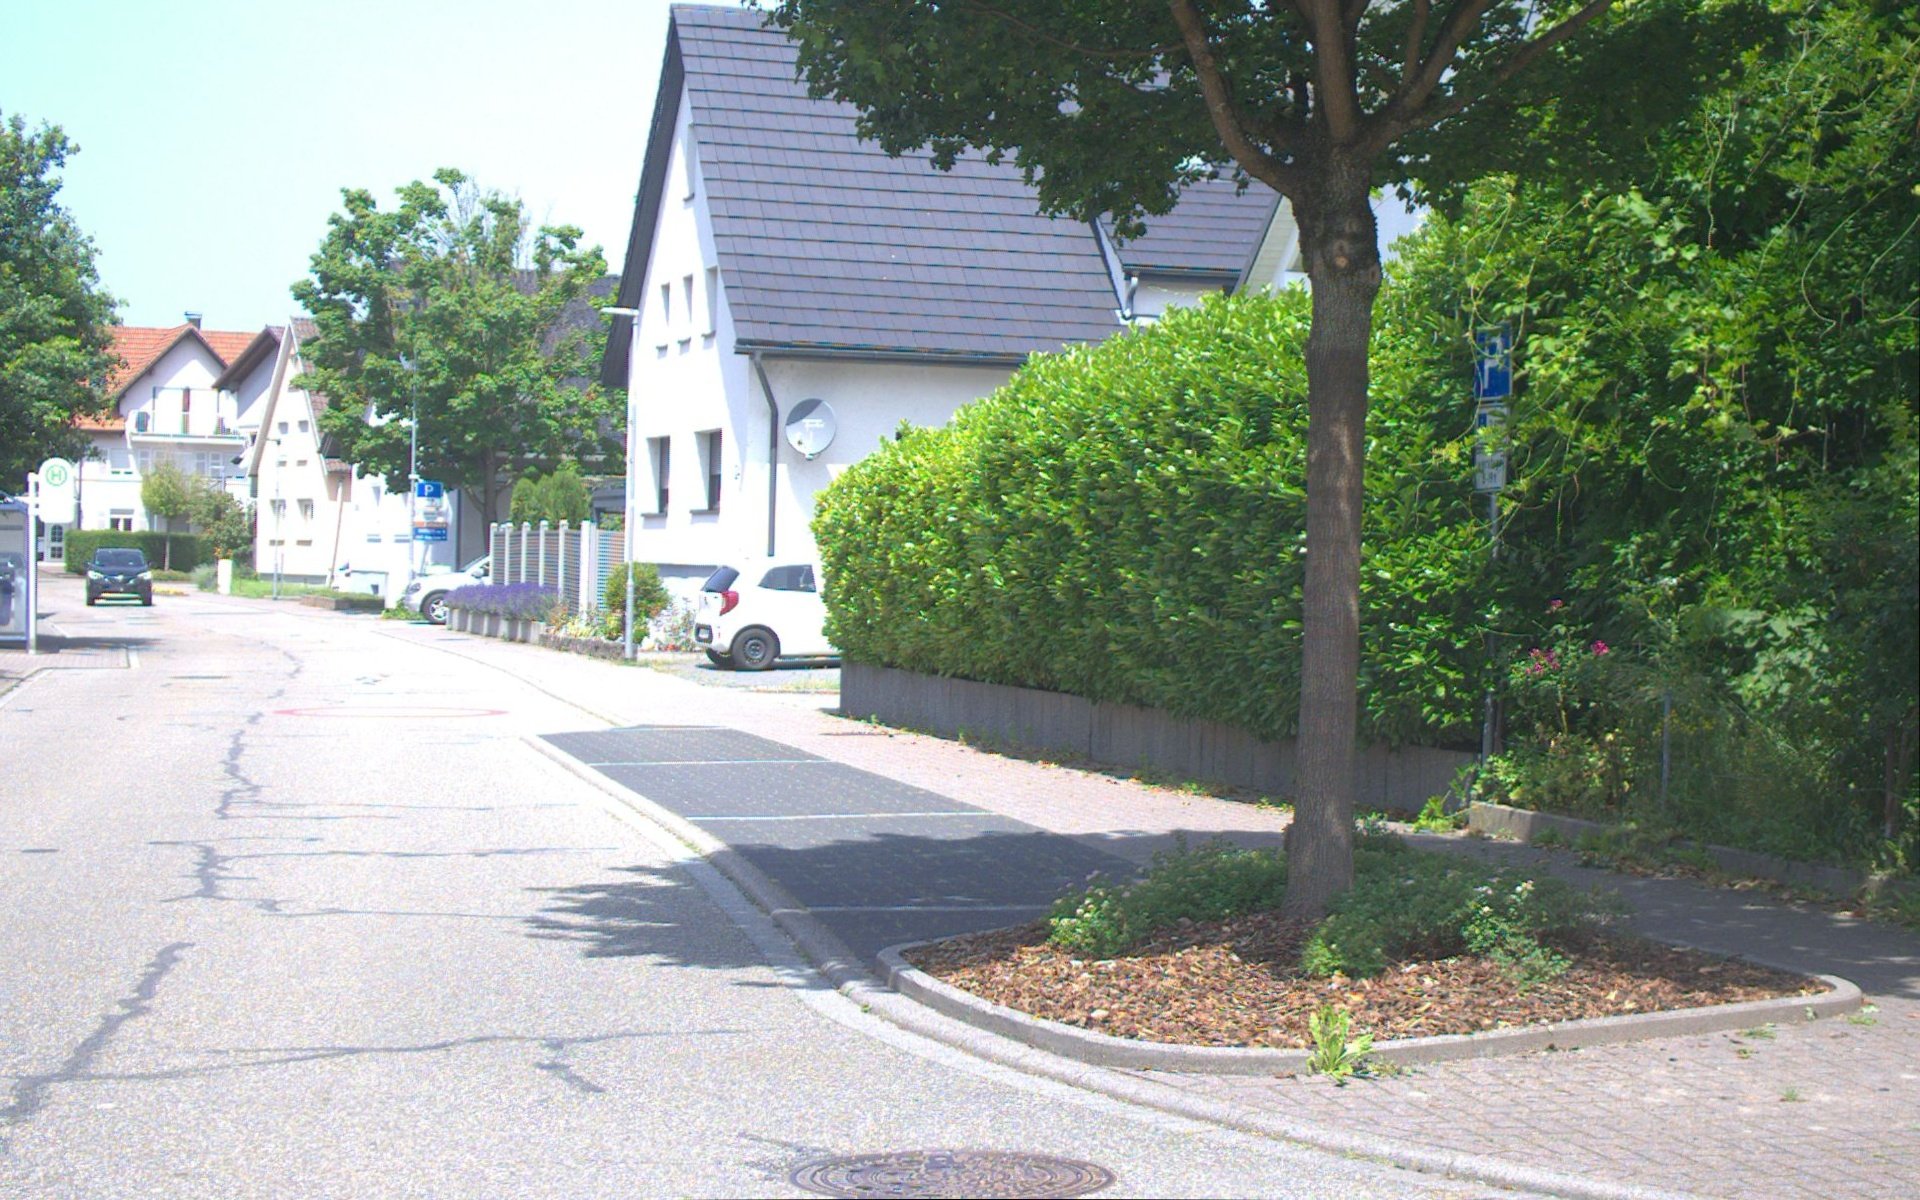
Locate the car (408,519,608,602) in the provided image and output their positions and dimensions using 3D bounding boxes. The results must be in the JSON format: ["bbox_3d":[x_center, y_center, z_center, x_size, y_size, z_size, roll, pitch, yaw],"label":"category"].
[{"bbox_3d":[-10.262,-0.908,77.932,4.315,1.760,1.892,-1,3,-13],"label":"car"}]

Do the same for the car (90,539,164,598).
[{"bbox_3d":[-23.671,-0.901,97.748,1.775,1.618,4.106,-1,1,-10],"label":"car"}]

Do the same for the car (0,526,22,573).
[{"bbox_3d":[-31.193,-1.642,110.594,1.626,1.481,4.001,0,1,-20],"label":"car"}]

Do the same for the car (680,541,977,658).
[{"bbox_3d":[-1.791,-0.026,46.517,3.656,1.469,1.766,-1,2,-18],"label":"car"}]
